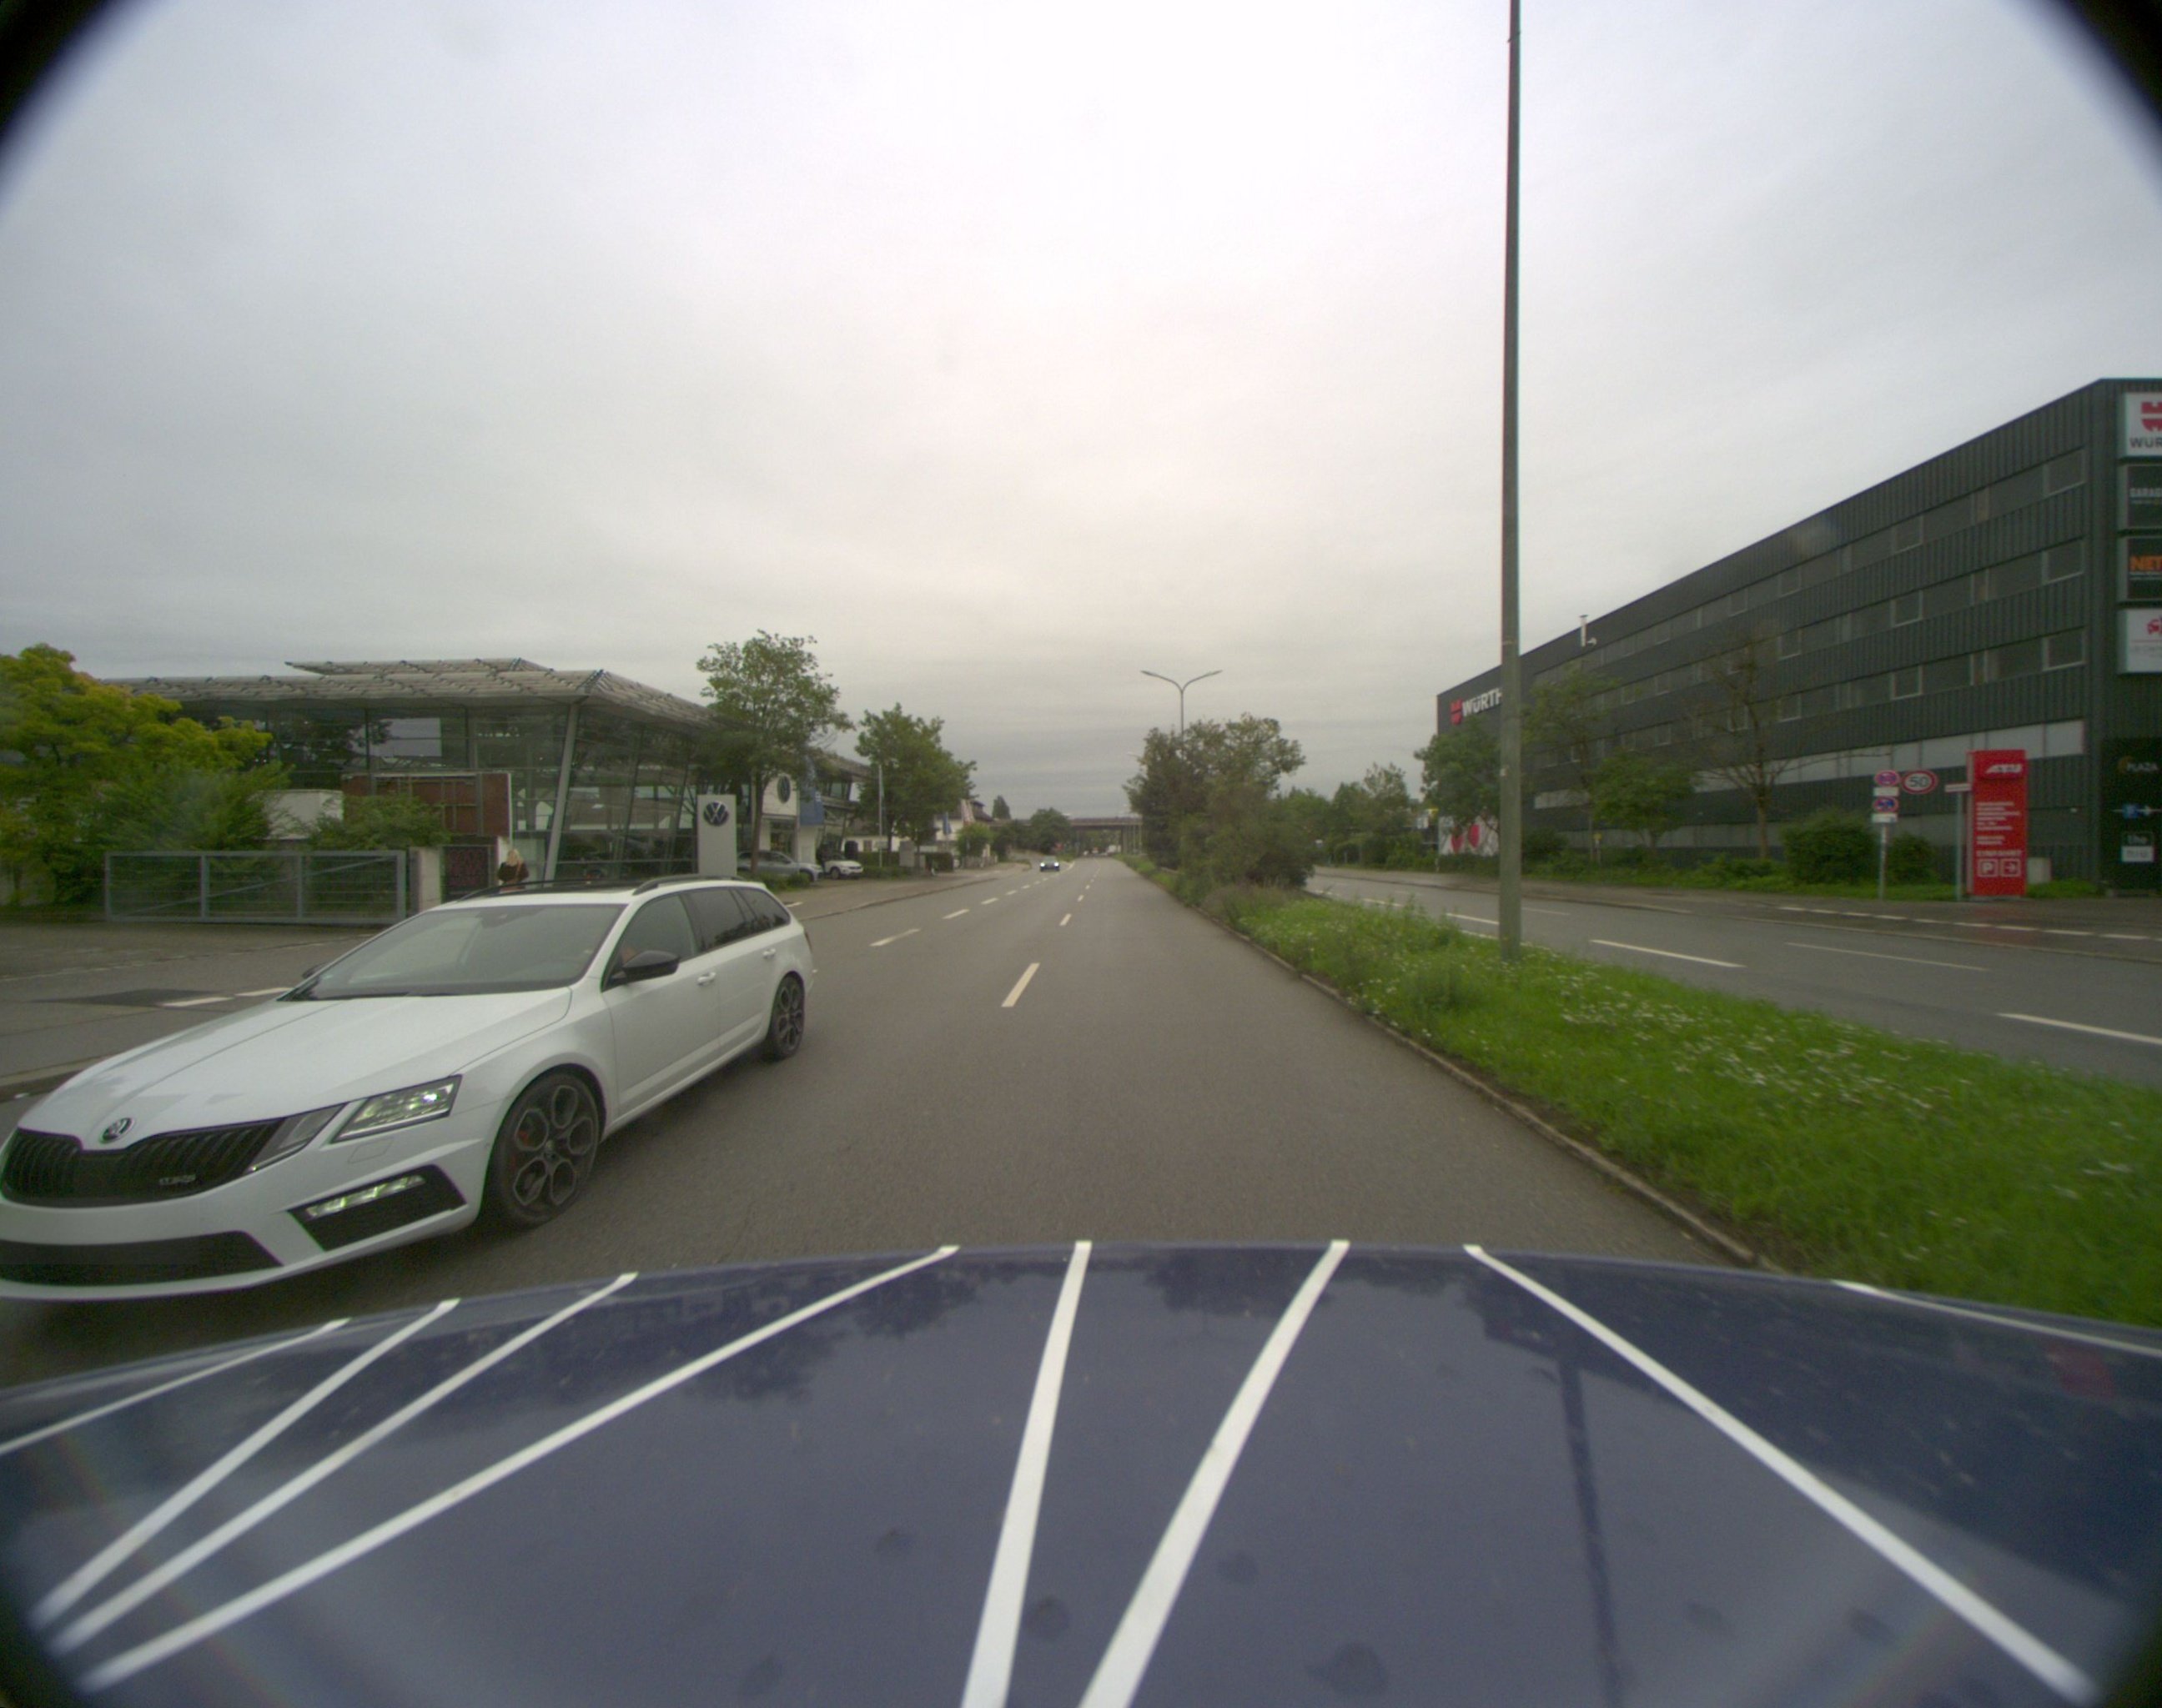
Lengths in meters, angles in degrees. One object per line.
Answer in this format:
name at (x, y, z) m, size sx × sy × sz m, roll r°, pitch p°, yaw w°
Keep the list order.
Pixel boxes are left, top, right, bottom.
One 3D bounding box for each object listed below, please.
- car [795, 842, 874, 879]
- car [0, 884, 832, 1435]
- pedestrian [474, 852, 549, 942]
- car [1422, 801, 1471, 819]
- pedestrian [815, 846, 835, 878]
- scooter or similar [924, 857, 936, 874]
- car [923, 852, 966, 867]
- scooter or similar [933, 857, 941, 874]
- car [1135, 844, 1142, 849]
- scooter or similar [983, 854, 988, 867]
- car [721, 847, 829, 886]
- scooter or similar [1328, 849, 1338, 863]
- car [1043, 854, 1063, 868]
car at (-14.597, 0.323, 44.914) m, size 4.249 × 2.002 × 1.966 m, roll 2°, pitch 2°, yaw 26°
car at (-3.242, 1.031, 4.578) m, size 1.915 × 1.439 × 4.556 m, roll -2°, pitch 1°, yaw 0°
pedestrian at (-11.470, 0.845, 15.321) m, size 0.759 × 1.718 × 0.895 m, roll 3°, pitch 1°, yaw 5°
car at (43.926, -5.267, 91.346) m, size 4.793 × 2.003 × 2.134 m, roll 1°, pitch 4°, yaw 3°
pedestrian at (-14.429, 0.467, 42.865) m, size 0.808 × 1.766 × 0.714 m, roll -2°, pitch 1°, yaw -43°
scooter or similar at (-10.783, 0.812, 54.330) m, size 0.497 × 1.197 × 1.430 m, roll 2°, pitch 0°, yaw -1°
car at (-13.694, 0.507, 76.348) m, size 4.023 × 1.452 × 1.793 m, roll -1°, pitch 1°, yaw 2°
scooter or similar at (-10.735, 0.819, 56.593) m, size 0.497 × 1.198 × 1.428 m, roll 2°, pitch 1°, yaw -8°
car at (19.121, -2.612, 251.816) m, size 1.974 × 1.574 × 4.589 m, roll 2°, pitch 2°, yaw 0°
scooter or similar at (-9.734, 0.645, 77.671) m, size 0.398 × 1.216 × 1.637 m, roll 2°, pitch 1°, yaw -11°
car at (-14.412, 0.581, 36.064) m, size 4.608 × 1.697 × 2.004 m, roll 1°, pitch 2°, yaw -19°
scooter or similar at (21.924, 0.139, 66.150) m, size 0.446 × 1.220 × 1.387 m, roll -1°, pitch 1°, yaw 1°
car at (-2.714, 0.695, 74.083) m, size 1.709 × 1.281 × 4.000 m, roll -1°, pitch 0°, yaw 1°
